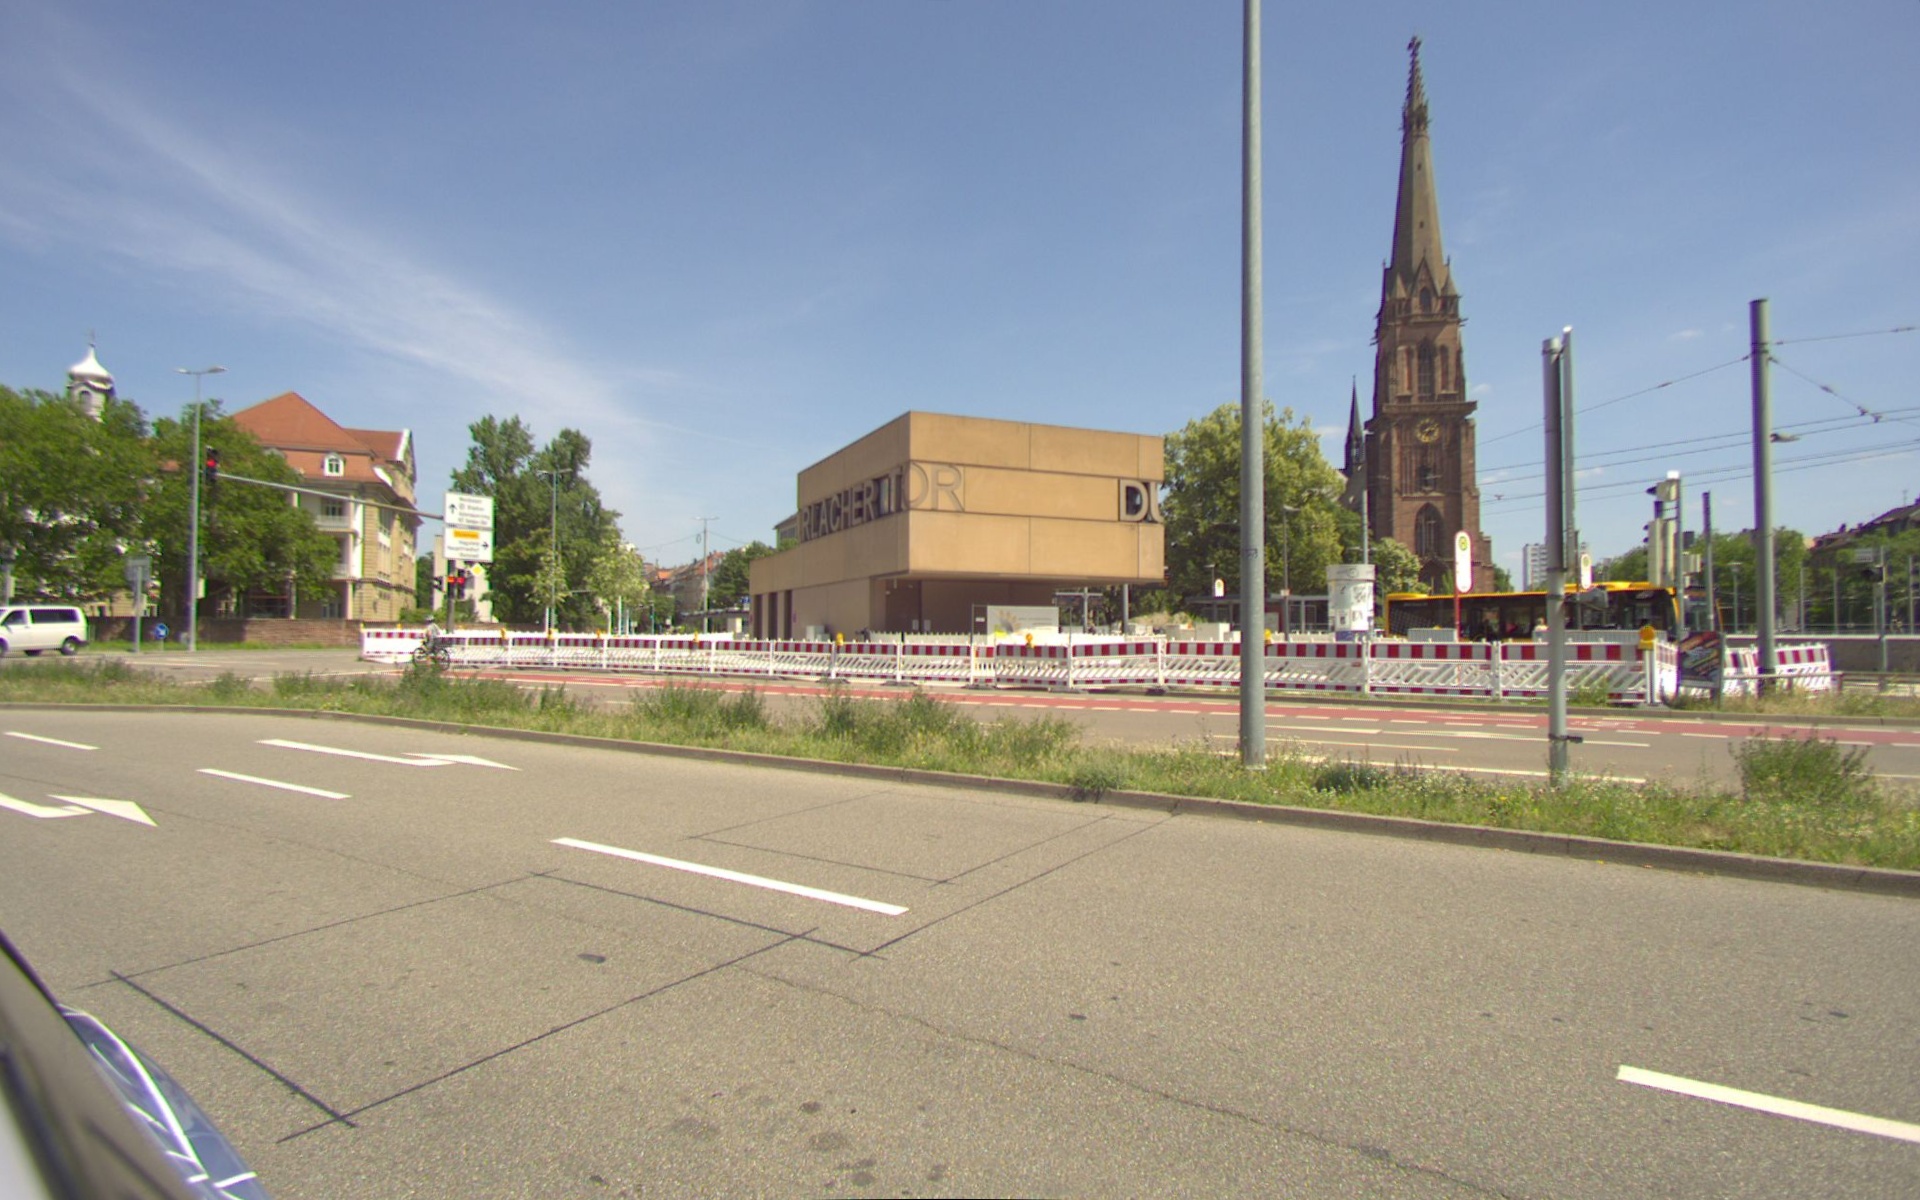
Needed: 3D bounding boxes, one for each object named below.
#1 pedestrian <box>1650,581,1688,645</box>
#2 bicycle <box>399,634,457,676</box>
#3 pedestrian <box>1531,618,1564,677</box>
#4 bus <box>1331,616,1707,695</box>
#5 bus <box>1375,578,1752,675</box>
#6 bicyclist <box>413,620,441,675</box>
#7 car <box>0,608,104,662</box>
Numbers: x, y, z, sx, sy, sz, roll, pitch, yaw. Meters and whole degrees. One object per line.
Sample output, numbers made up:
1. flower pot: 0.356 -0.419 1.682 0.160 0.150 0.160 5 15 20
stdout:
1. pedestrian: 22.732 0.420 32.452 0.601 2.011 0.666 -1 -3 -20
2. bicycle: -15.496 1.587 29.471 1.890 1.189 0.519 0 -2 29
3. pedestrian: 20.306 1.641 34.999 0.601 2.011 0.665 -1 -3 -10
4. bus: 9.939 1.056 18.466 5.803 1.259 1.234 -4 -3 33
5. bus: 21.815 1.053 38.145 3.674 3.065 12.293 1 -2 -24
6. bicyclist: -15.526 1.376 29.488 0.496 1.591 0.526 0 -2 28
7. car: -36.845 1.380 39.445 1.977 2.000 5.382 -2 -3 8
